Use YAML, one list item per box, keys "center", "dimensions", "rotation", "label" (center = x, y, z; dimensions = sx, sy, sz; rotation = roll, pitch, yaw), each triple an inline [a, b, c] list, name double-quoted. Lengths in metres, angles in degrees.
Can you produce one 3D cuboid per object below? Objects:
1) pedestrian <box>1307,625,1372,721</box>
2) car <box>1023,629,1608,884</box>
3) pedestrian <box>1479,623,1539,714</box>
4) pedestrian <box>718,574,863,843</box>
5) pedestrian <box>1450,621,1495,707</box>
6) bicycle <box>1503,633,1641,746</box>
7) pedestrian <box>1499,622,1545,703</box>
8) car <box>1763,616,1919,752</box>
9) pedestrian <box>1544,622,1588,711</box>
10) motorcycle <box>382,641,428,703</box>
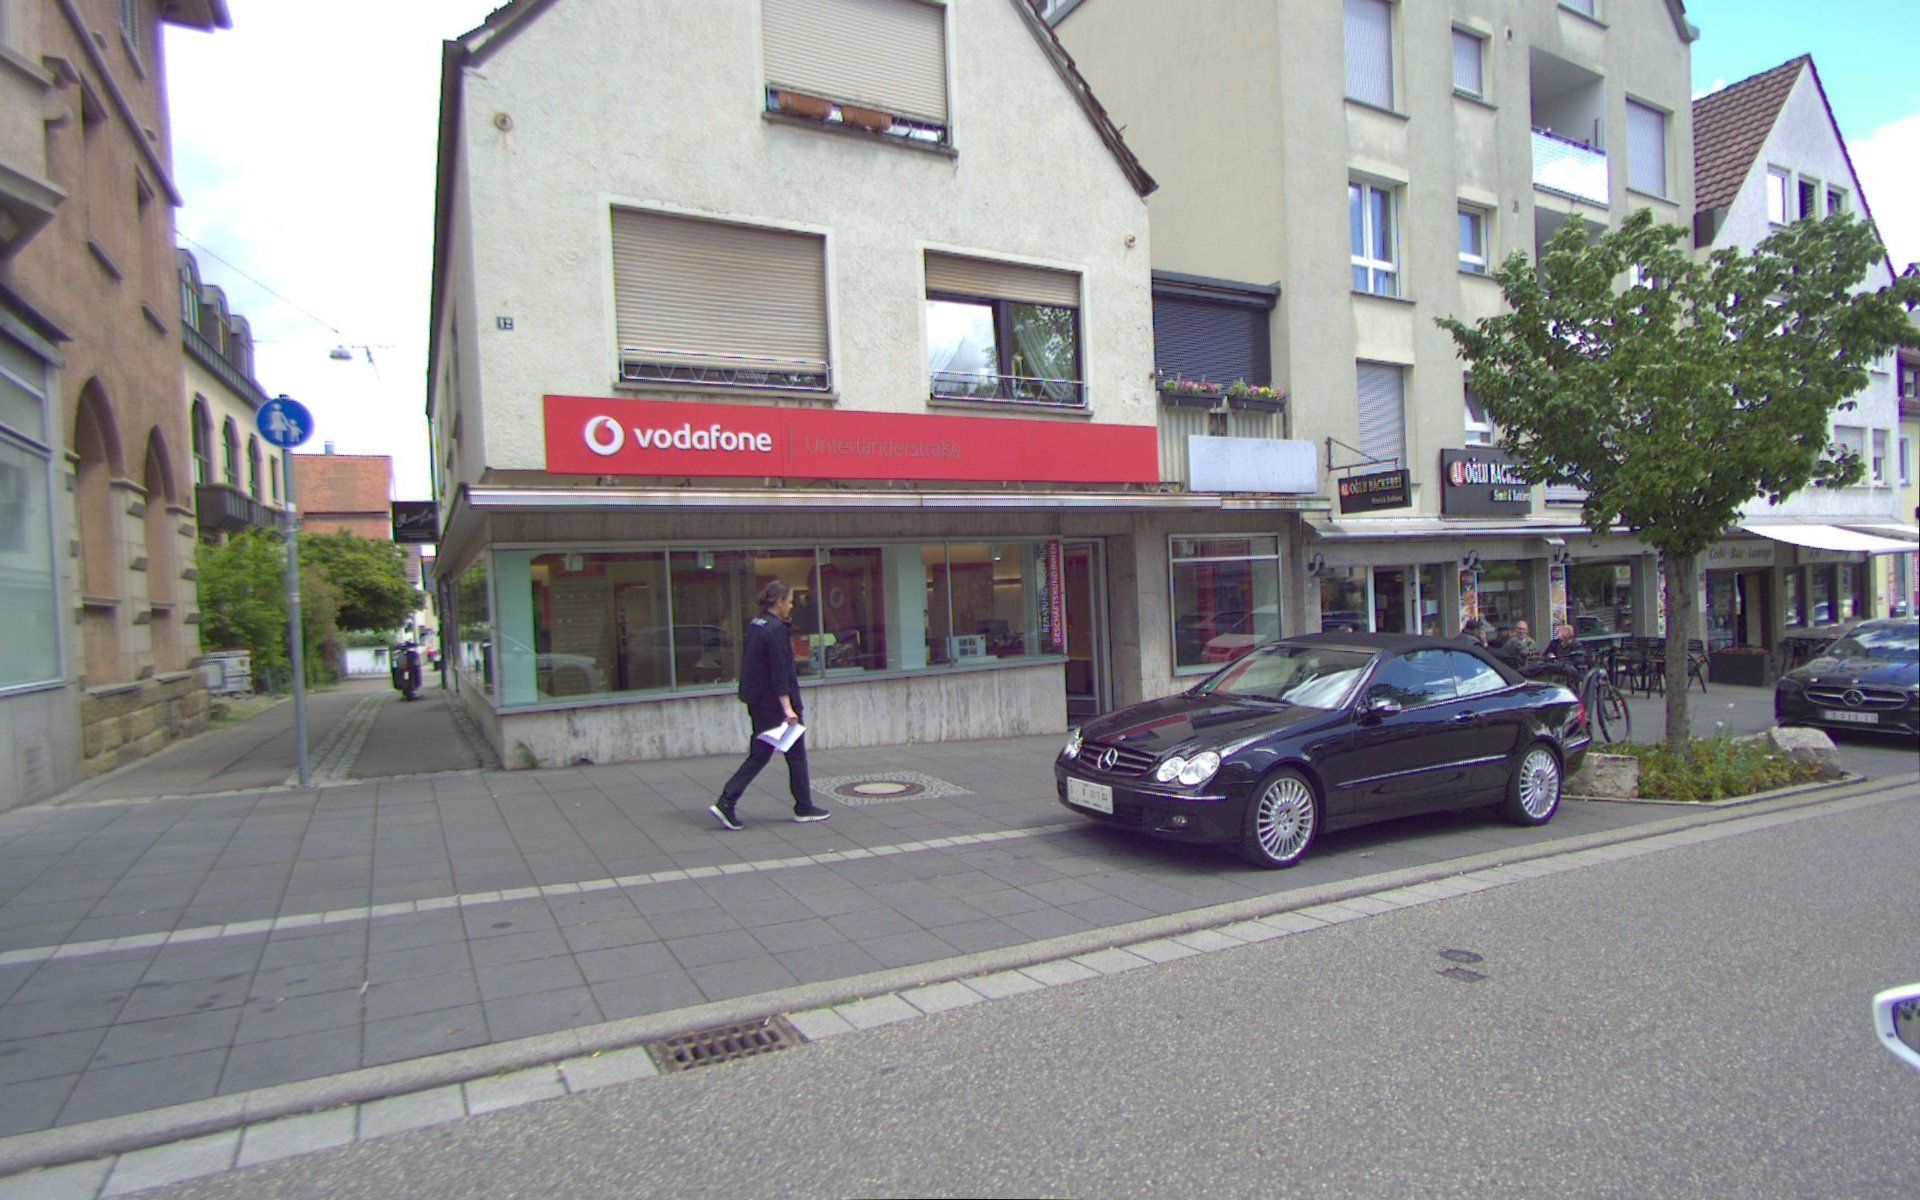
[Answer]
- center: [5.216, 0.985, 13.814]
  dimensions: [0.591, 1.263, 0.593]
  rotation: [0, 0, -30]
  label: "pedestrian"
- center: [2.750, 0.933, 7.474]
  dimensions: [4.390, 1.410, 1.649]
  rotation: [1, -1, -29]
  label: "car"
- center: [8.055, 0.986, 14.739]
  dimensions: [0.591, 1.284, 0.547]
  rotation: [0, 0, -30]
  label: "pedestrian"
- center: [-1.203, 0.728, 7.172]
  dimensions: [0.651, 1.784, 0.775]
  rotation: [0, -1, 35]
  label: "pedestrian"
- center: [7.797, 0.959, 15.283]
  dimensions: [0.494, 1.266, 0.393]
  rotation: [-1, 1, -30]
  label: "pedestrian"
- center: [6.726, 0.941, 11.009]
  dimensions: [1.886, 1.121, 0.481]
  rotation: [0, 0, -31]
  label: "bicycle"
- center: [9.031, 0.993, 16.147]
  dimensions: [0.560, 1.266, 0.425]
  rotation: [-1, 1, -30]
  label: "pedestrian"
- center: [12.264, 0.976, 12.945]
  dimensions: [4.470, 1.470, 1.827]
  rotation: [0, 0, -35]
  label: "car"
- center: [9.304, 1.010, 15.425]
  dimensions: [0.448, 1.317, 0.419]
  rotation: [-1, 1, -30]
  label: "pedestrian"
- center: [-11.394, 1.488, 20.685]
  dimensions: [0.635, 1.206, 2.178]
  rotation: [1, -5, -24]
  label: "motorcycle"
